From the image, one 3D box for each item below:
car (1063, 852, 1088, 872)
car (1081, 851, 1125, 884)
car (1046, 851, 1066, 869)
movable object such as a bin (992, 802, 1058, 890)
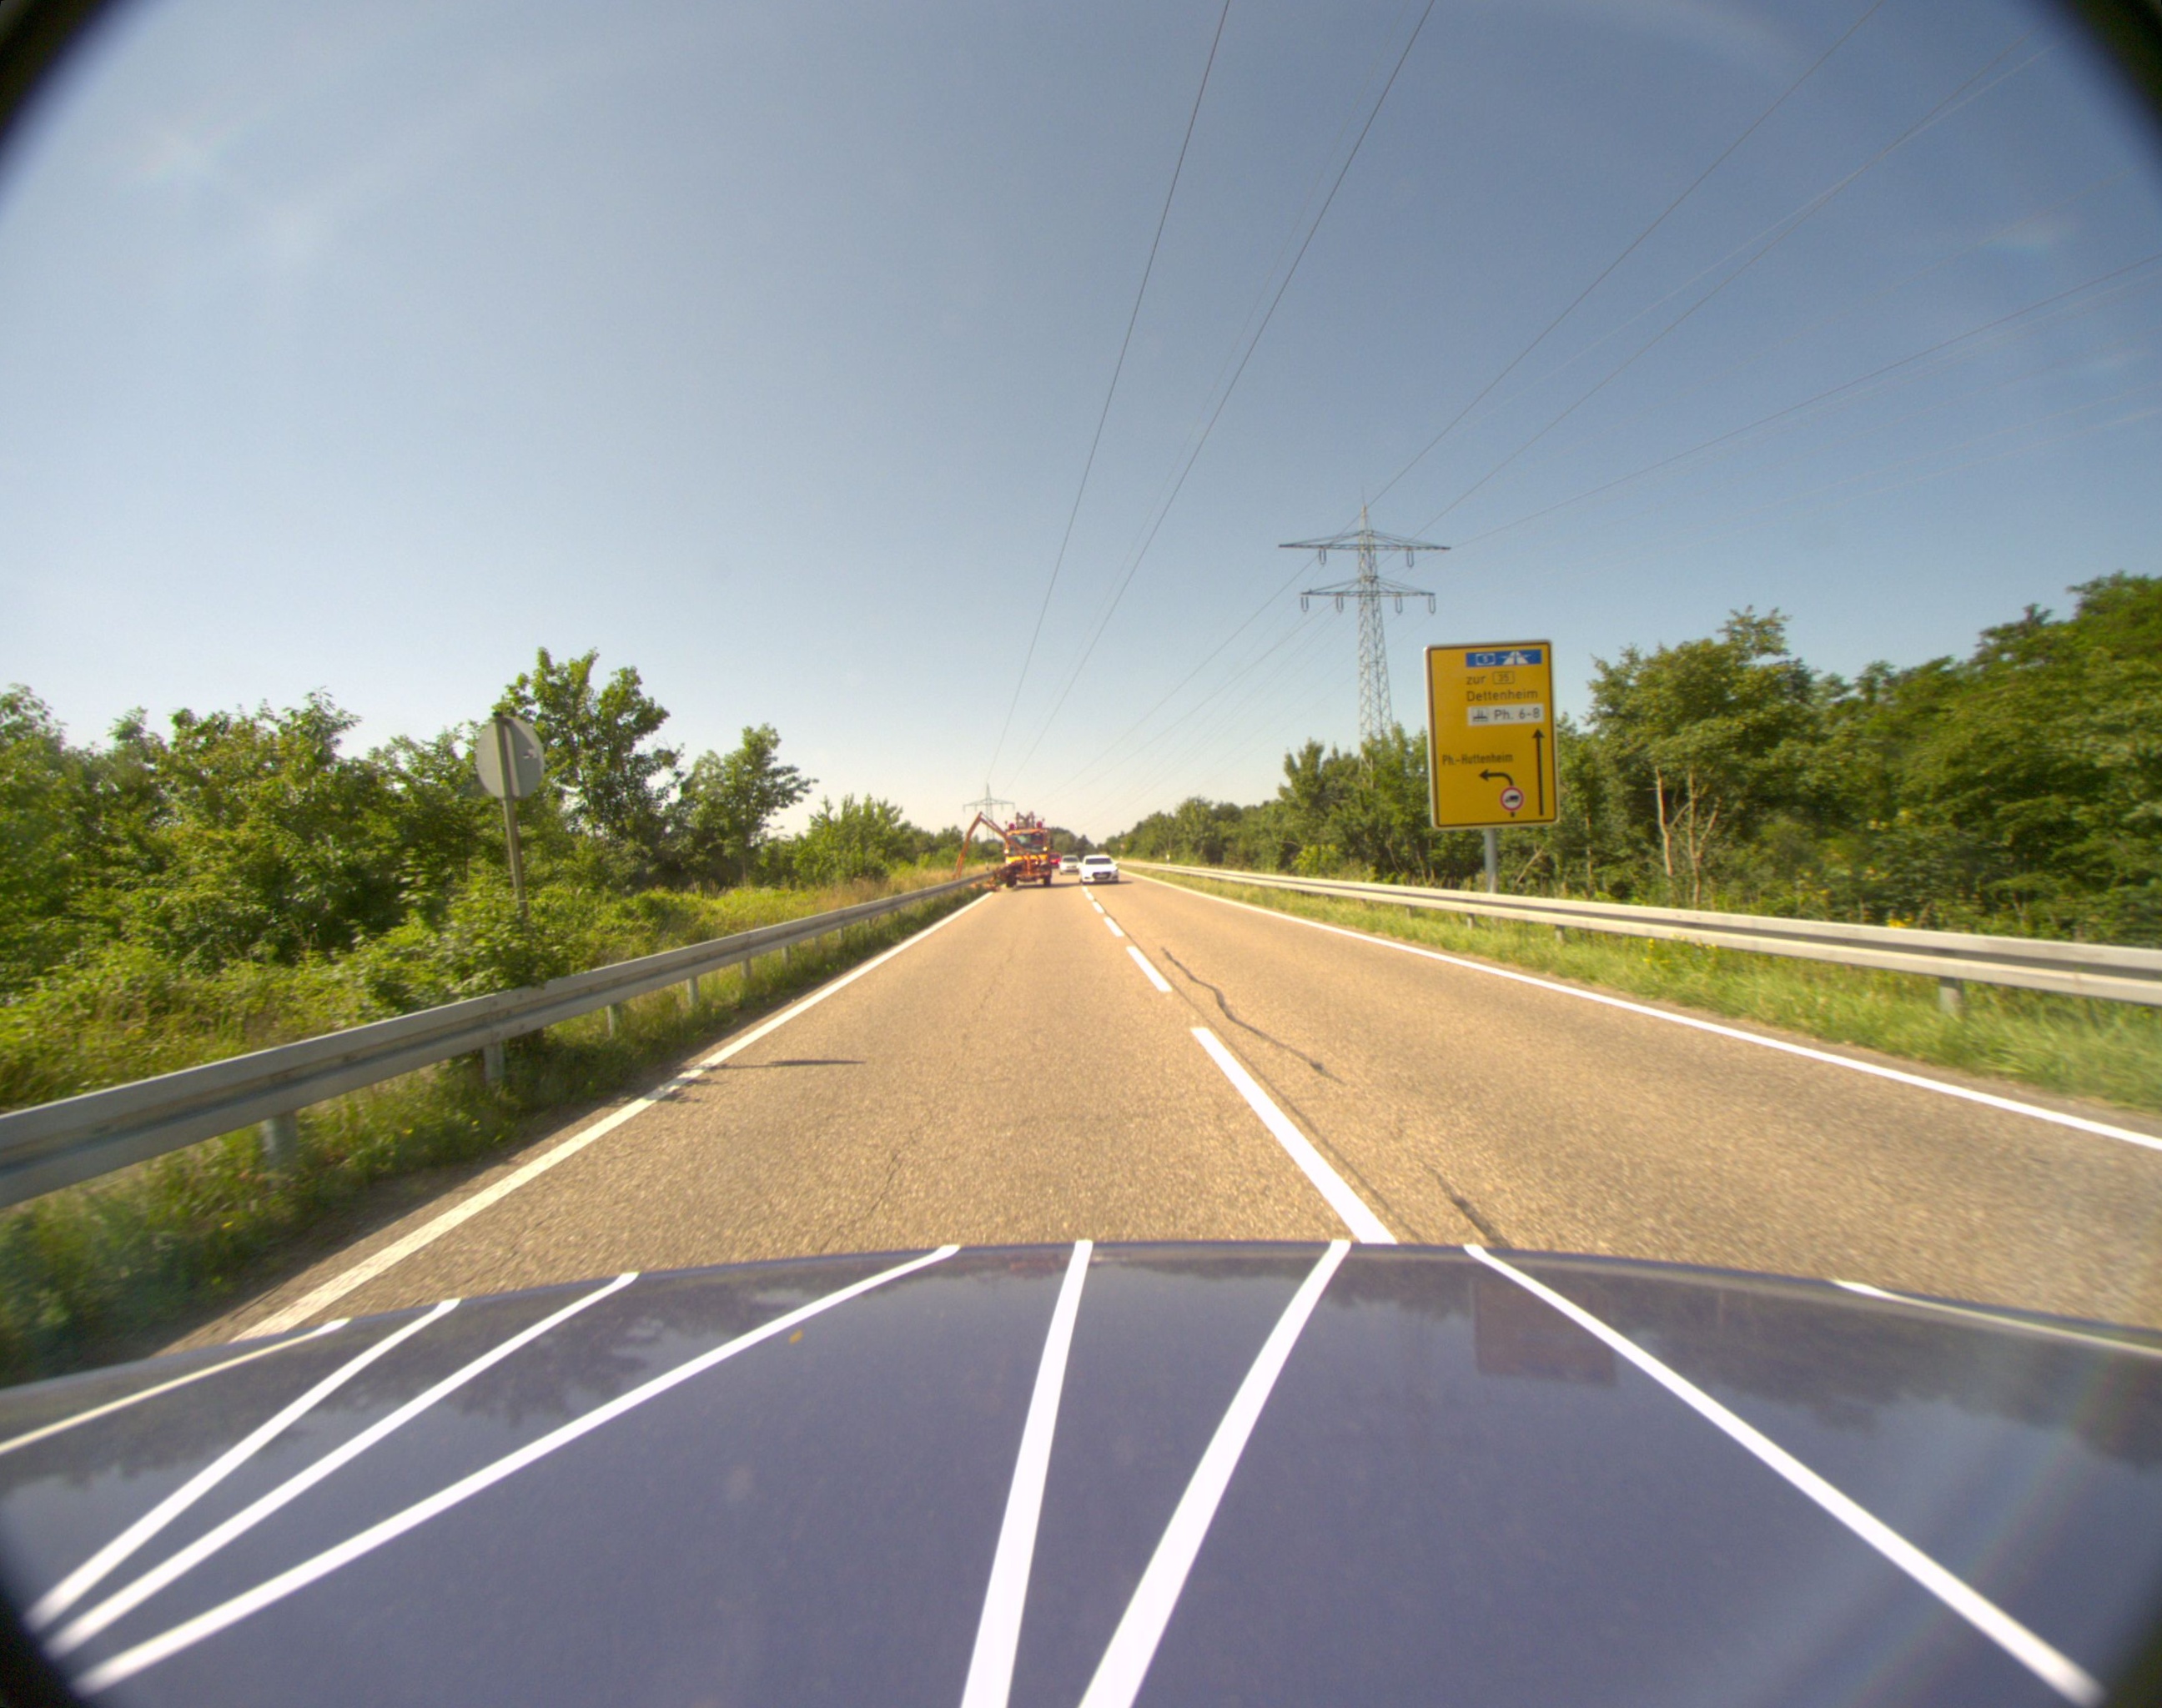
[{"bbox_3d":[-0.520,0.677,63.878,1.923,1.540,4.792,-2,0,-2],"label":"car"},{"bbox_3d":[1.039,0.640,38.672,1.923,1.496,4.792,-2,0,-2],"label":"car"},{"bbox_3d":[-2.922,0.634,87.571,2.127,1.934,5.017,-2,0,-3],"label":"car"},{"bbox_3d":[-2.653,-0.354,38.375,2.761,3.817,9.443,-2,0,-2],"label":"movable object such as a bin"}]
